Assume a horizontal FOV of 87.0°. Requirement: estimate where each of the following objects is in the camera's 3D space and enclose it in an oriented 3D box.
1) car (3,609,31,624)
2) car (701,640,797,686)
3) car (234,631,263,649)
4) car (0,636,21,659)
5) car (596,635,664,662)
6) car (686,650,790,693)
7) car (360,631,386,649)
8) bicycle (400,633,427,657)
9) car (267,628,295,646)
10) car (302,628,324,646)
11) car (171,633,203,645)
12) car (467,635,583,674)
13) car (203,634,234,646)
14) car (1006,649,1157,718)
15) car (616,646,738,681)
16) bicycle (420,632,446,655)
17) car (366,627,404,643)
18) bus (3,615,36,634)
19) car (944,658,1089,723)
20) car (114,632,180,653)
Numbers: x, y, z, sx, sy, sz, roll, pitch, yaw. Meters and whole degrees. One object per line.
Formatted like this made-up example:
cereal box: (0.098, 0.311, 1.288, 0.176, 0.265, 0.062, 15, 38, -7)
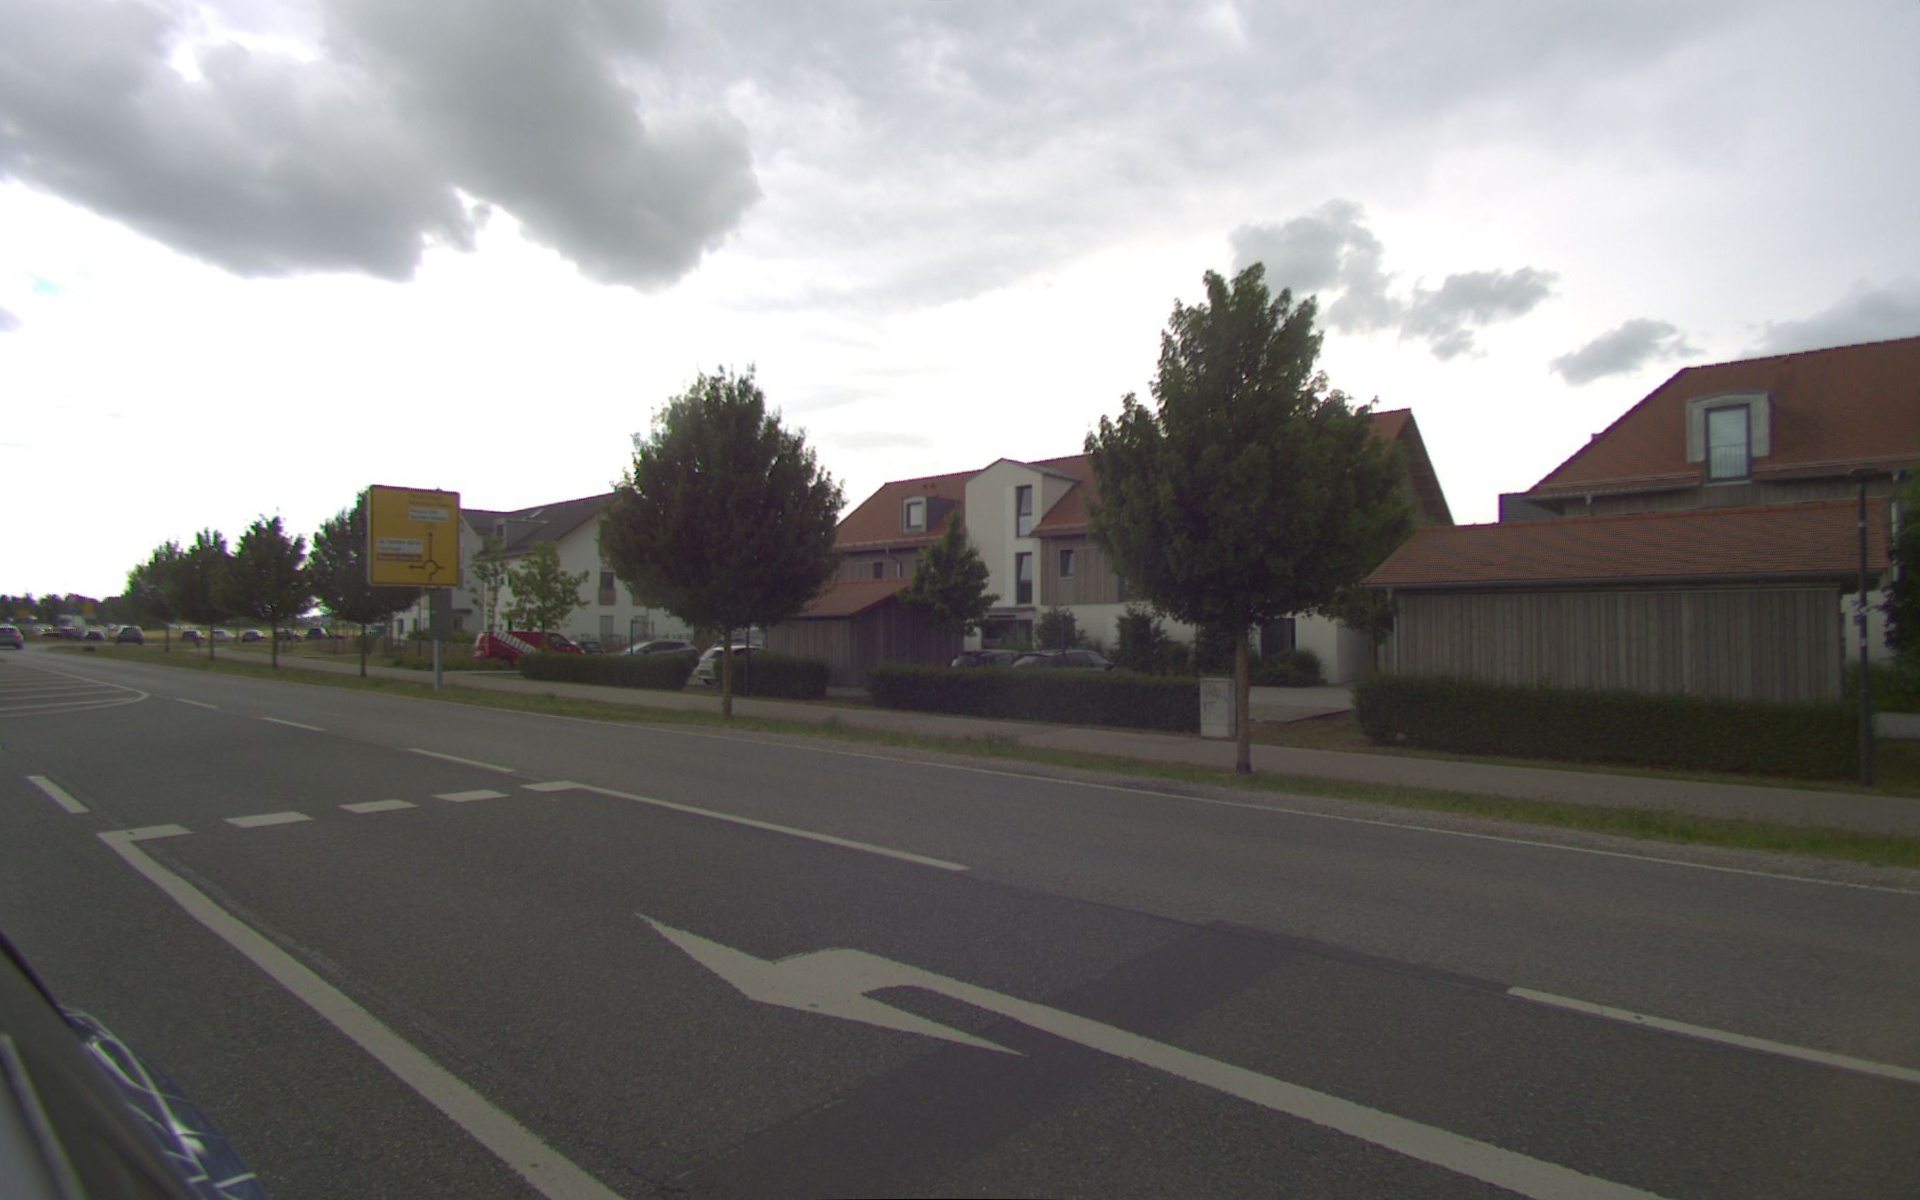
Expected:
car: (-99.564, 1.766, 106.825, 3.998, 1.455, 1.751, -2, -4, 41)
car: (-10.368, 3.013, 49.387, 5.202, 2.029, 1.971, -2, 0, 44)
car: (-81.550, 4.597, 116.051, 1.965, 2.029, 4.013, 2, -4, -24)
car: (-61.388, 3.007, 64.528, 3.998, 1.455, 1.751, -2, -4, 41)
car: (-19.224, 2.825, 58.940, 3.998, 1.519, 1.972, -2, -4, 41)
car: (-8.123, 2.620, 37.246, 1.562, 1.501, 3.477, -2, -4, 41)
car: (-71.224, 4.893, 122.824, 1.965, 2.029, 4.013, 2, -3, -21)
bicycle: (-34.223, 2.811, 63.370, 2.342, 1.423, 0.675, -2, -4, 41)
car: (-78.398, 4.288, 116.933, 1.965, 2.029, 4.013, 2, -4, -24)
car: (-75.451, 4.380, 117.998, 1.966, 2.029, 4.010, 3, -4, -33)
car: (-86.819, 4.367, 113.670, 1.965, 1.298, 4.013, 2, -4, -24)
car: (-21.204, 2.683, 49.467, 4.847, 1.830, 1.908, 4, -4, -44)
car: (-83.999, 4.541, 114.670, 1.965, 1.298, 4.013, 2, -4, -24)
car: (3.221, 2.122, 26.318, 2.000, 1.630, 3.943, -2, -4, 42)
car: (-12.226, 2.762, 43.992, 1.906, 1.441, 4.852, -2, -4, 42)
bicycle: (-33.293, 2.751, 63.910, 2.093, 1.428, 0.675, -2, -4, 41)
car: (-78.571, 4.813, 138.284, 1.991, 2.029, 3.961, -1, -4, 29)
bus: (-166.411, 4.363, 179.054, 6.474, 3.305, 2.956, -1, -4, 37)
car: (1.643, 2.486, 28.273, 2.000, 1.630, 3.943, -2, -4, 42)
car: (-69.711, 3.651, 86.875, 4.144, 1.594, 1.837, 4, -5, -31)
